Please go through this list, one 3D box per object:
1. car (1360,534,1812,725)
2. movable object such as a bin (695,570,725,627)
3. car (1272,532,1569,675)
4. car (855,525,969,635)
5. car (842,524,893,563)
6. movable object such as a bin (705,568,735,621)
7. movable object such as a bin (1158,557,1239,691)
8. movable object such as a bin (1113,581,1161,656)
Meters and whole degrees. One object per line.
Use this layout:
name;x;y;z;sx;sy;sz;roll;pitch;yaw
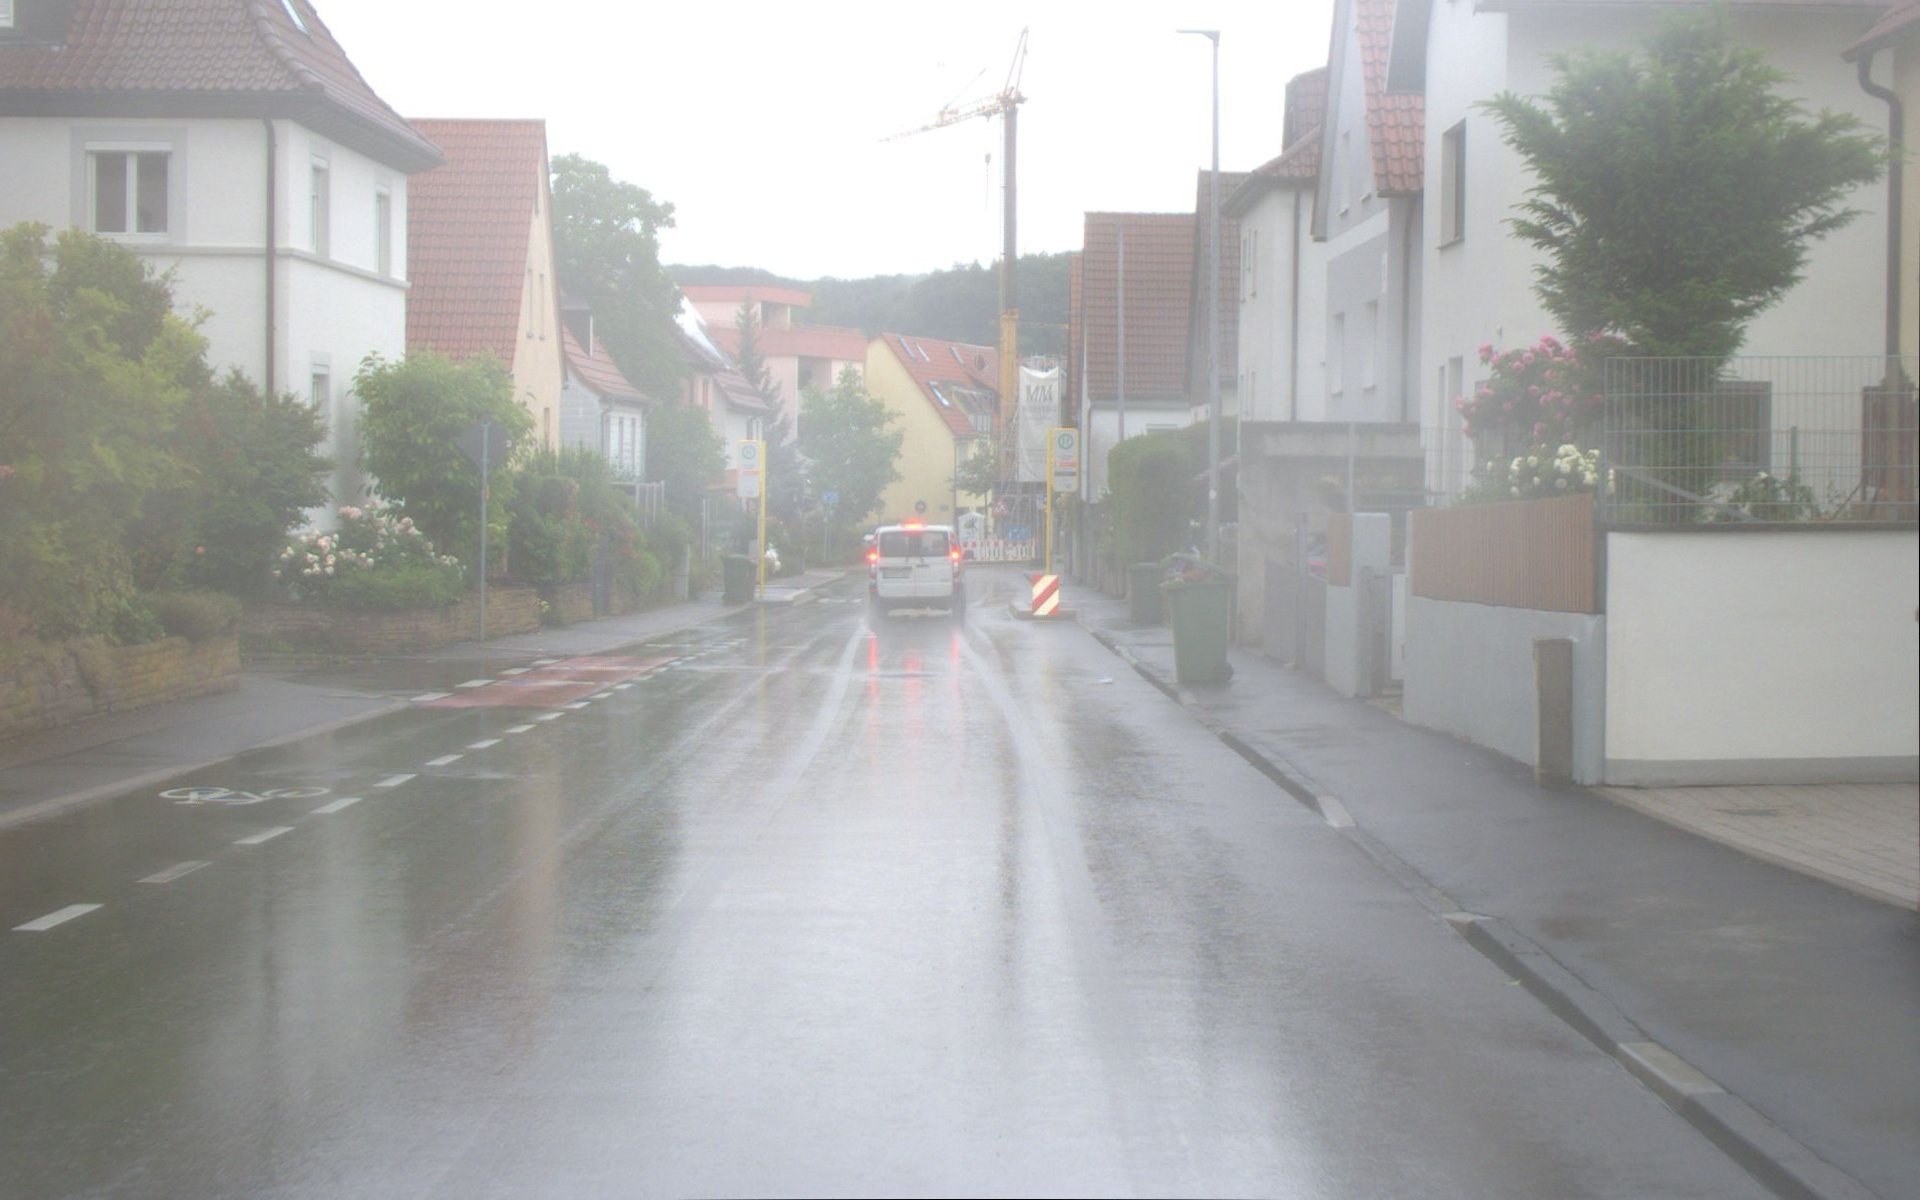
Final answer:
car;5.239;0.226;29.083;3.494;1.517;1.739;-1;2;0
movable object such as a bin;-6.037;-0.035;82.997;0.682;1.318;0.639;2;3;-5
car;5.612;0.027;42.163;3.373;1.557;1.515;2;3;0
car;-0.930;-0.444;69.003;2.117;1.881;4.503;2;4;0
car;-4.257;-2.616;158.144;1.842;1.573;4.289;2;4;5
movable object such as a bin;-5.844;-0.138;83.784;0.682;1.219;0.639;2;3;-5
movable object such as a bin;2.375;0.235;34.292;0.745;1.274;0.882;0;3;1
movable object such as a bin;3.167;0.328;61.468;0.785;1.272;0.714;2;3;4
